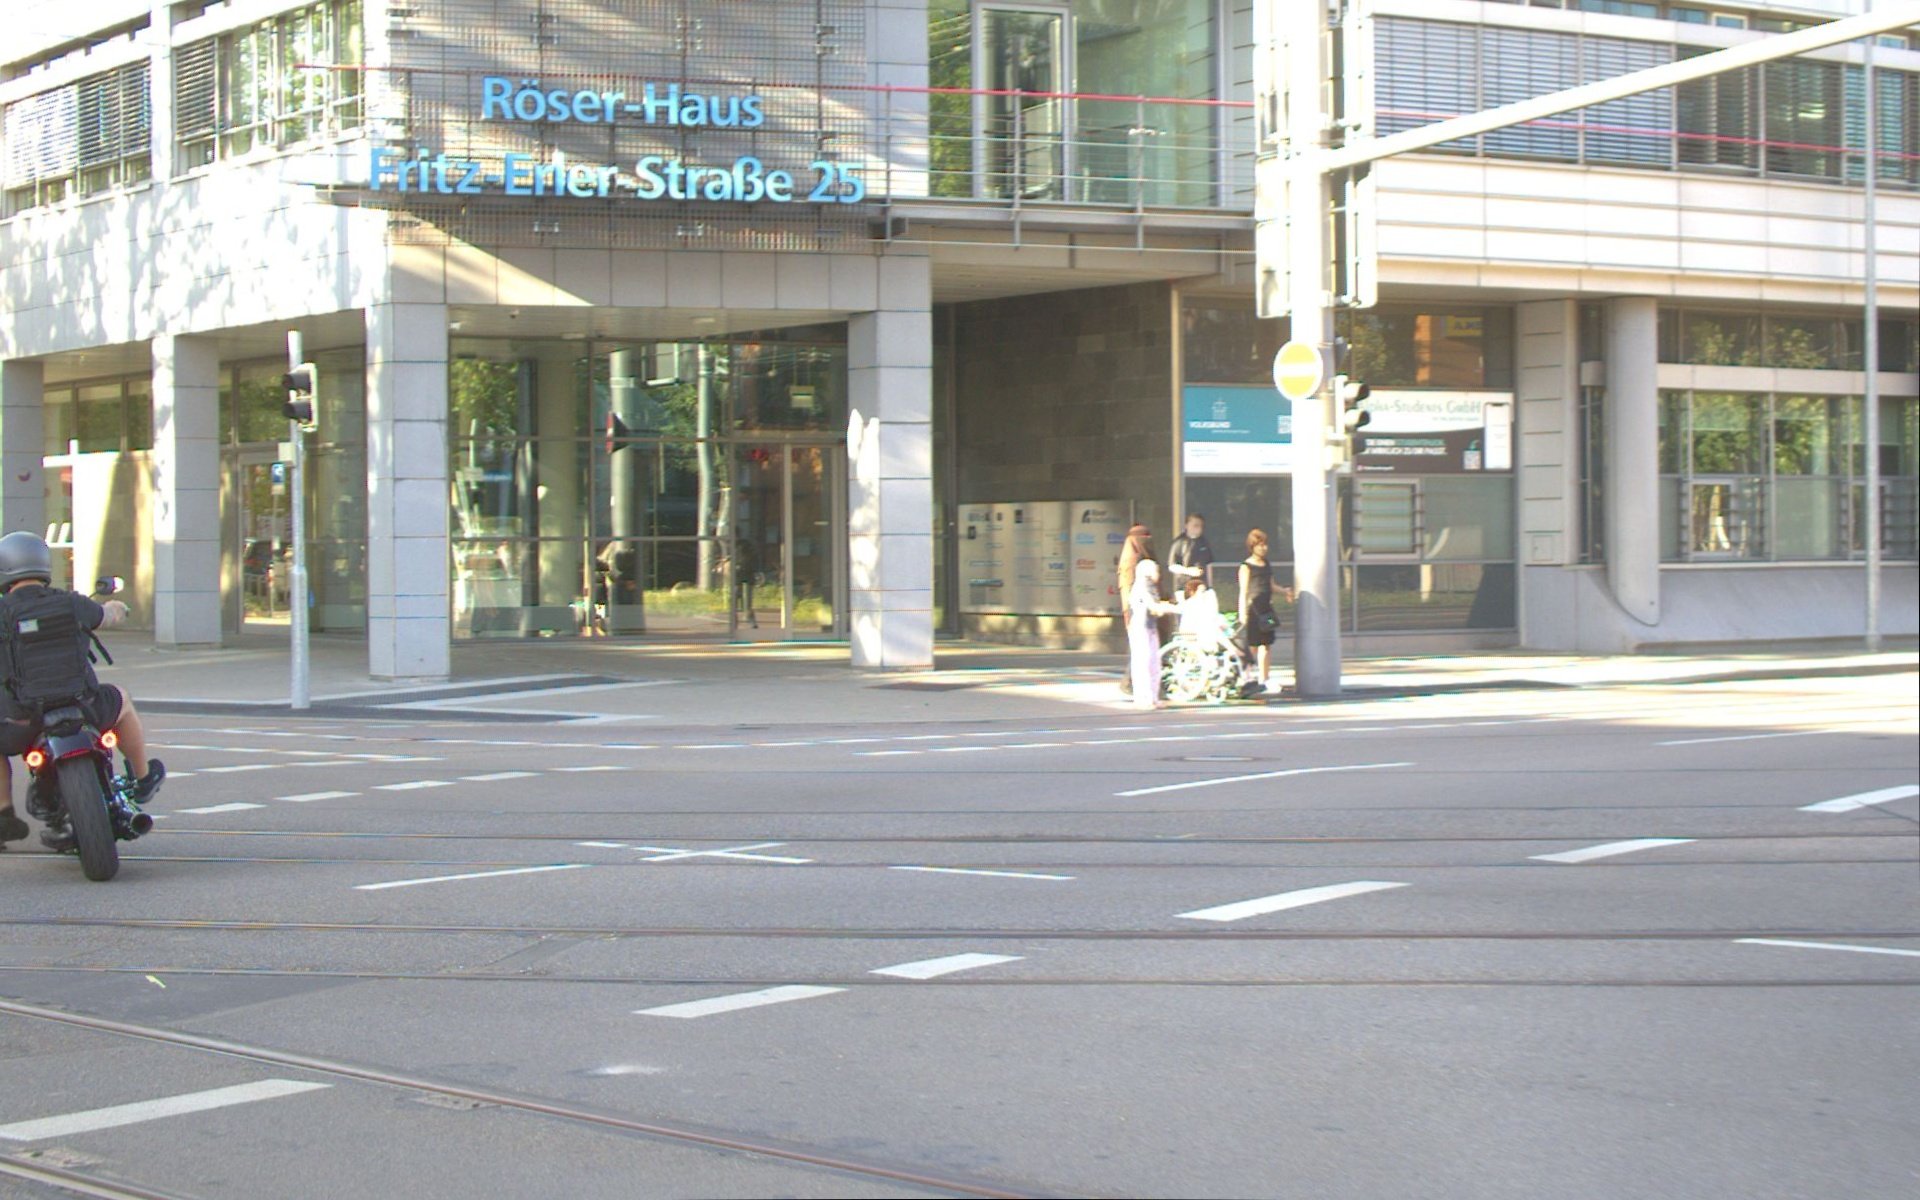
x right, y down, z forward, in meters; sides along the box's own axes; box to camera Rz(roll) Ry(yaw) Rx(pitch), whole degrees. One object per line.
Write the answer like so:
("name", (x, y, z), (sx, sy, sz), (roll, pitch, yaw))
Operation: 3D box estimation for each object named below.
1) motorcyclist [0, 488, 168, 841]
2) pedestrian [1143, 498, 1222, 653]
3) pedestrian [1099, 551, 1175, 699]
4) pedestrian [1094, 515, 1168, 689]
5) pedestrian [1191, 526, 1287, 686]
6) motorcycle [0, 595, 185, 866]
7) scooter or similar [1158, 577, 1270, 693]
("motorcyclist", (-4.227, 0.264, 15.825), (1.022, 1.547, 1.287), (0, 2, -18))
("pedestrian", (2.479, -0.281, 38.337), (0.644, 1.709, 0.689), (1, 1, 29))
("pedestrian", (1.697, 0.236, 32.954), (0.636, 1.397, 0.546), (0, 1, 13))
("pedestrian", (1.698, 0.010, 34.098), (0.636, 1.702, 0.581), (0, 1, 13))
("pedestrian", (2.851, 0.053, 35.164), (0.653, 1.612, 0.723), (-1, 1, -39))
("motorcycle", (-4.186, 0.554, 15.812), (1.005, 1.121, 2.324), (0, 1, -18))
("scooter or similar", (2.508, 0.342, 33.909), (1.016, 1.125, 0.550), (0, 1, 14))
